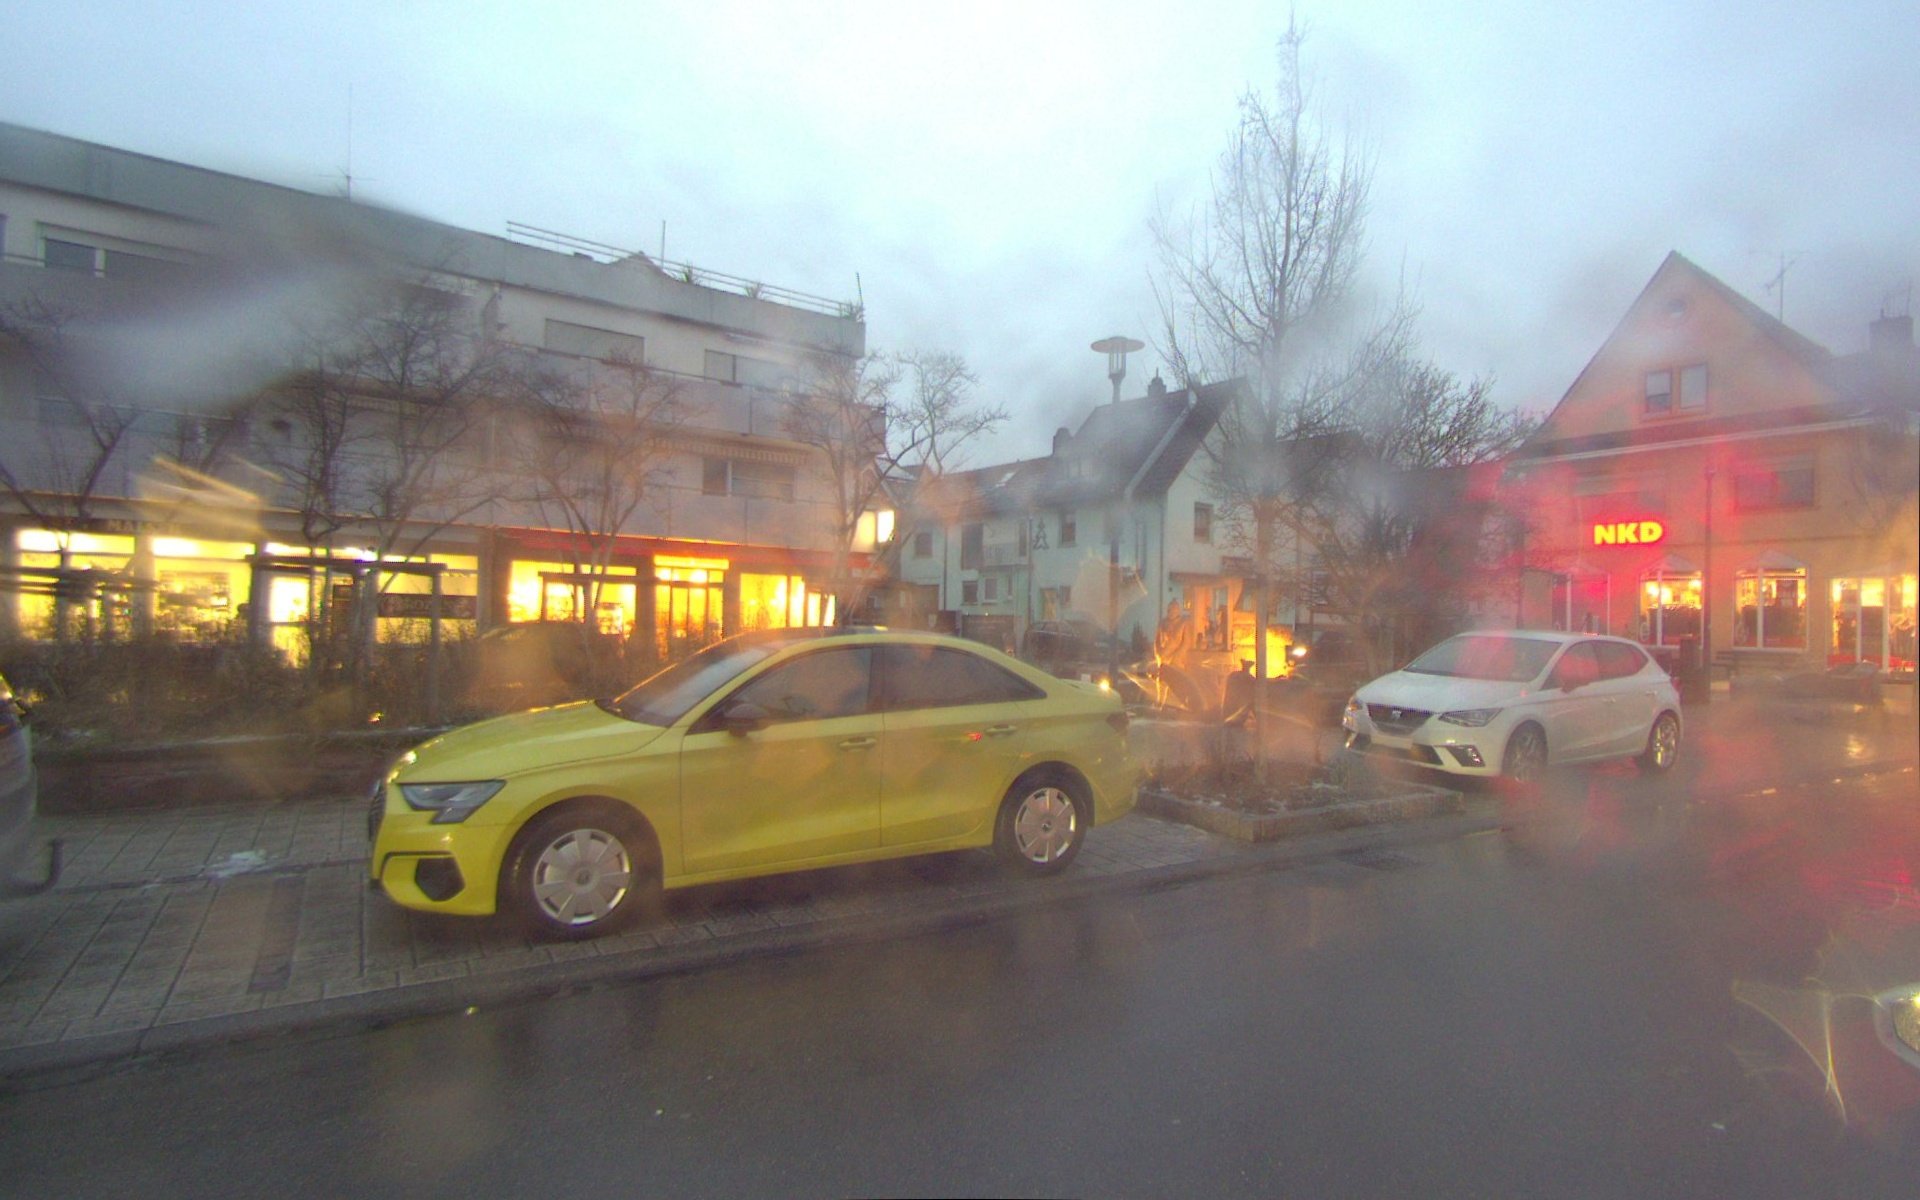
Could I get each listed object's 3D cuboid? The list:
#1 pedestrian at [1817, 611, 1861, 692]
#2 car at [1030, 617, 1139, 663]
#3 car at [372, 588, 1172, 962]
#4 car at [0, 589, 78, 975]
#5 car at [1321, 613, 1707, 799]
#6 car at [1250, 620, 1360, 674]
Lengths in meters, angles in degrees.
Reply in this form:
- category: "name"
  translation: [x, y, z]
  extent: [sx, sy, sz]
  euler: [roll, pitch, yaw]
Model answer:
- category: "pedestrian"
  translation: [19.558, 1.133, 22.342]
  extent: [0.677, 1.765, 0.584]
  euler: [1, -1, -34]
- category: "car"
  translation: [4.534, 1.448, 36.901]
  extent: [1.604, 1.539, 3.854]
  euler: [2, -1, -43]
- category: "car"
  translation: [-0.976, 0.774, 6.001]
  extent: [4.290, 1.536, 1.741]
  euler: [2, 1, -29]
- category: "car"
  translation: [-5.659, 0.687, 3.424]
  extent: [3.733, 1.536, 1.682]
  euler: [2, 0, -33]
- category: "car"
  translation: [5.746, 0.970, 10.327]
  extent: [3.953, 1.536, 1.661]
  euler: [2, 1, -30]
- category: "car"
  translation: [12.121, 1.634, 35.205]
  extent: [3.967, 1.743, 1.834]
  euler: [2, -1, -40]
